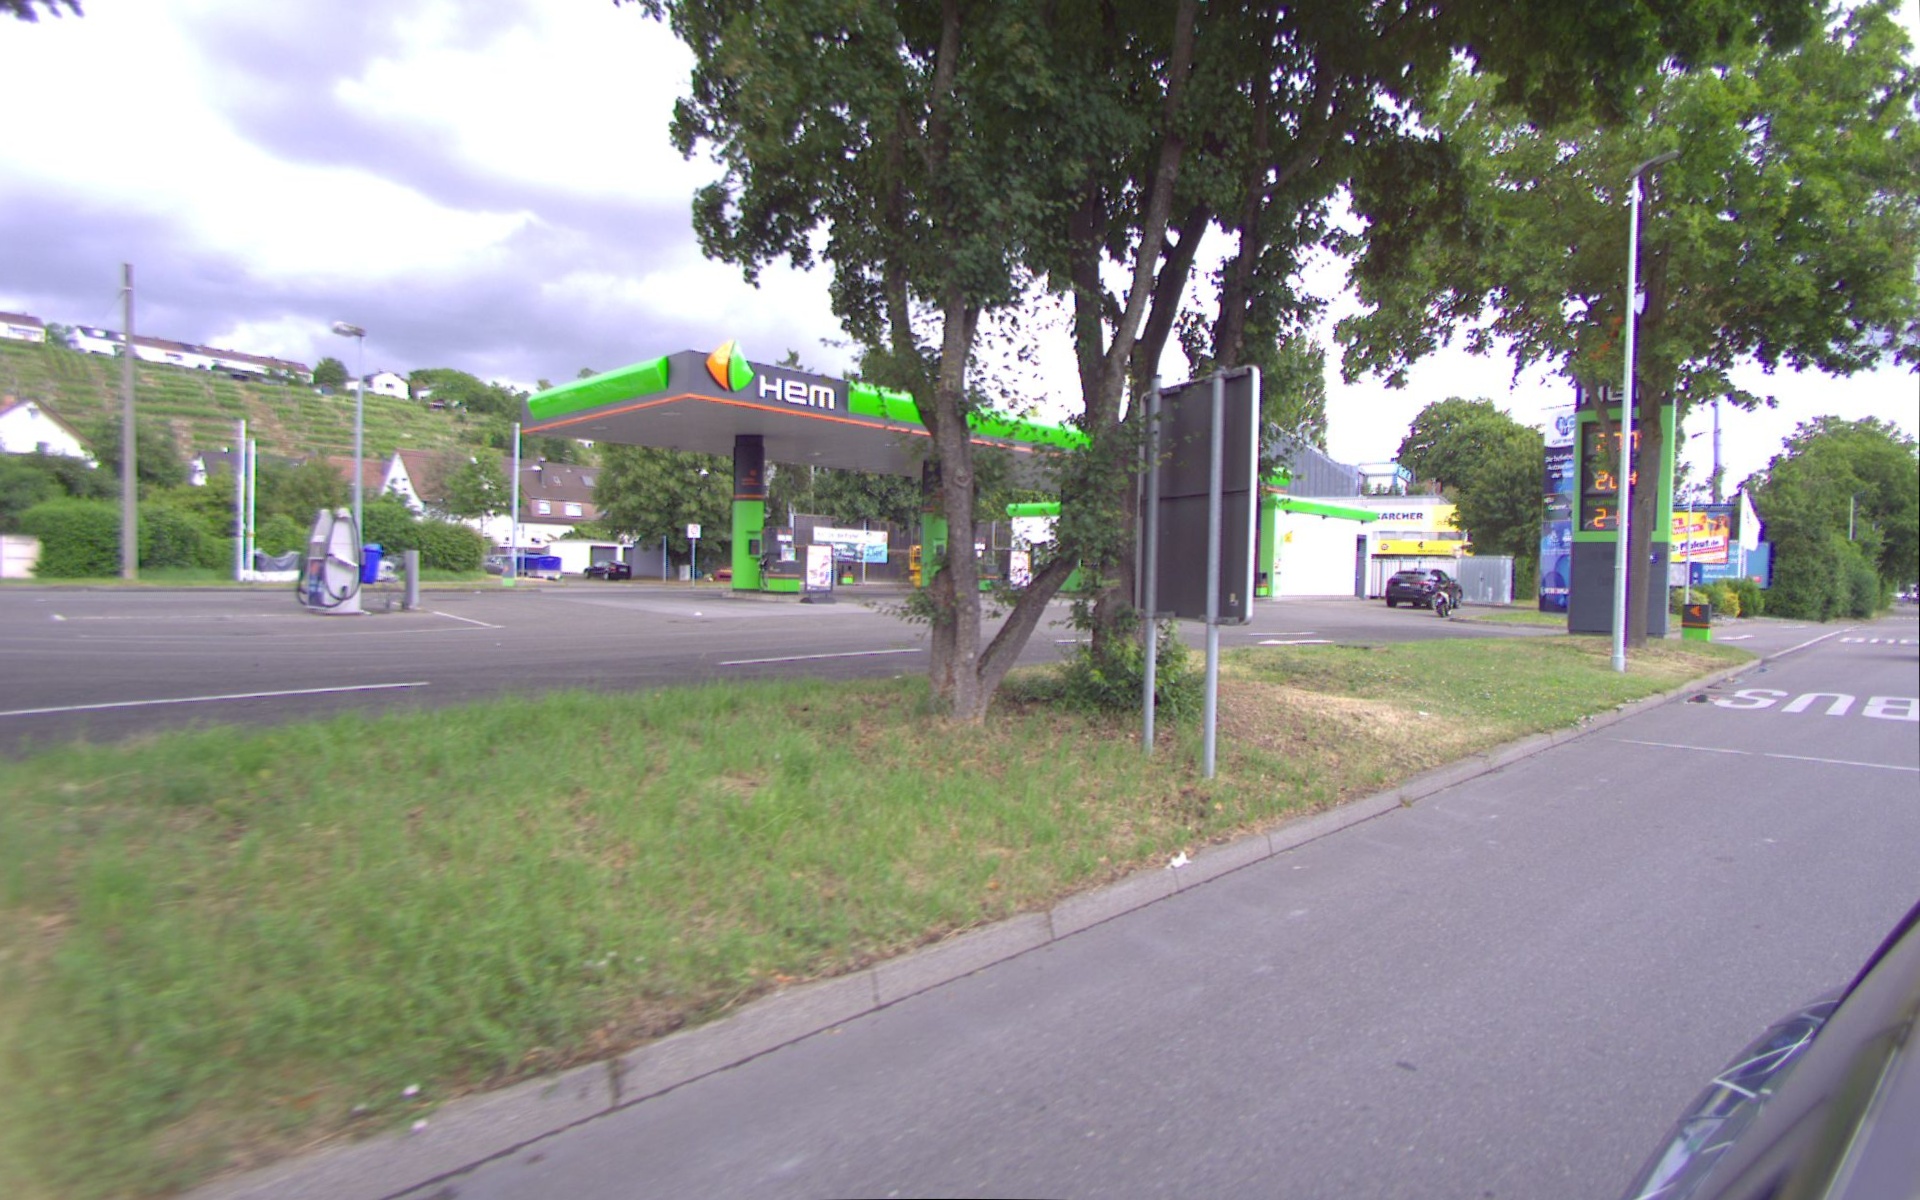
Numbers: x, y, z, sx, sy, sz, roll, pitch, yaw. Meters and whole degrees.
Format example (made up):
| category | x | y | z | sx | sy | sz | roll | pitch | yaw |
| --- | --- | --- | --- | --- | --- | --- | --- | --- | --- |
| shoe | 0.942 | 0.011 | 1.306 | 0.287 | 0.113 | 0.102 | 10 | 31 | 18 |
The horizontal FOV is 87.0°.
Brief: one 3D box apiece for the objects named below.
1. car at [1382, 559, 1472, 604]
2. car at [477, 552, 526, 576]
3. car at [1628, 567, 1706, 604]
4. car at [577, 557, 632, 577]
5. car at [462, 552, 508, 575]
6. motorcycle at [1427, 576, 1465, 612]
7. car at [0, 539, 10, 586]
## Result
| category | x | y | z | sx | sy | sz | roll | pitch | yaw |
| --- | --- | --- | --- | --- | --- | --- | --- | --- | --- |
| car | 19.391 | -0.778 | 41.934 | 1.996 | 1.658 | 4.257 | 6 | 5 | 45 |
| car | -29.432 | -2.276 | 64.961 | 1.642 | 1.422 | 3.867 | 0 | 0 | -45 |
| car | 36.619 | -0.731 | 52.504 | 3.222 | 1.815 | 1.526 | -1 | 0 | 34 |
| car | -24.333 | -2.240 | 69.165 | 3.983 | 1.234 | 1.816 | 3 | 2 | 40 |
| car | -32.646 | -2.491 | 69.481 | 1.642 | 1.422 | 3.867 | 0 | 0 | -45 |
| motorcycle | 17.304 | -0.221 | 35.998 | 0.701 | 1.201 | 2.356 | 3 | 2 | 38 |
| car | -32.578 | -1.199 | 31.571 | 1.985 | 1.483 | 3.954 | -1 | 0 | 32 |
